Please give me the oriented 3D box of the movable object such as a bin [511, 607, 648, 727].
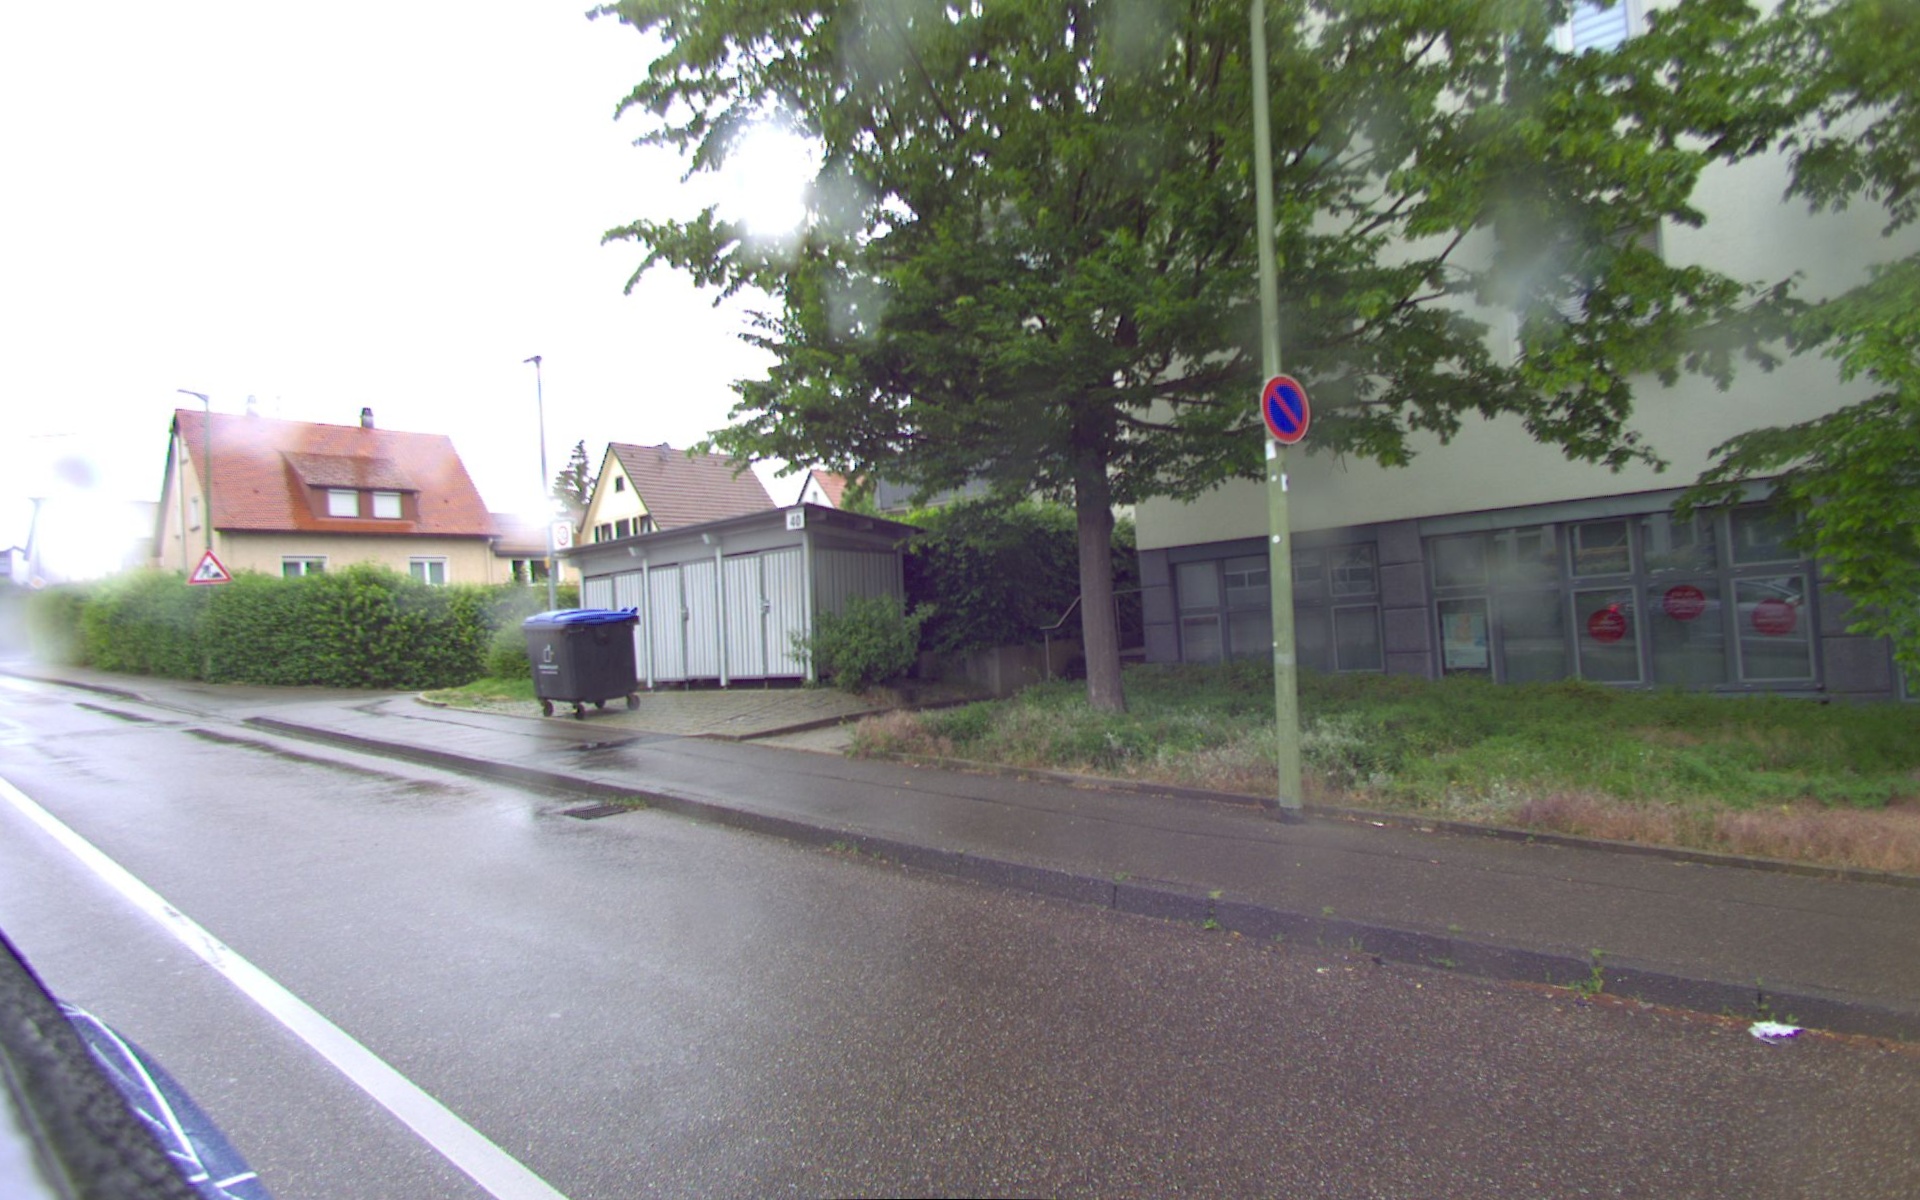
[{"bbox_3d":[-4.761,0.814,12.669,1.201,1.306,1.043,-3,3,41],"label":"movable object such as a bin"}]
